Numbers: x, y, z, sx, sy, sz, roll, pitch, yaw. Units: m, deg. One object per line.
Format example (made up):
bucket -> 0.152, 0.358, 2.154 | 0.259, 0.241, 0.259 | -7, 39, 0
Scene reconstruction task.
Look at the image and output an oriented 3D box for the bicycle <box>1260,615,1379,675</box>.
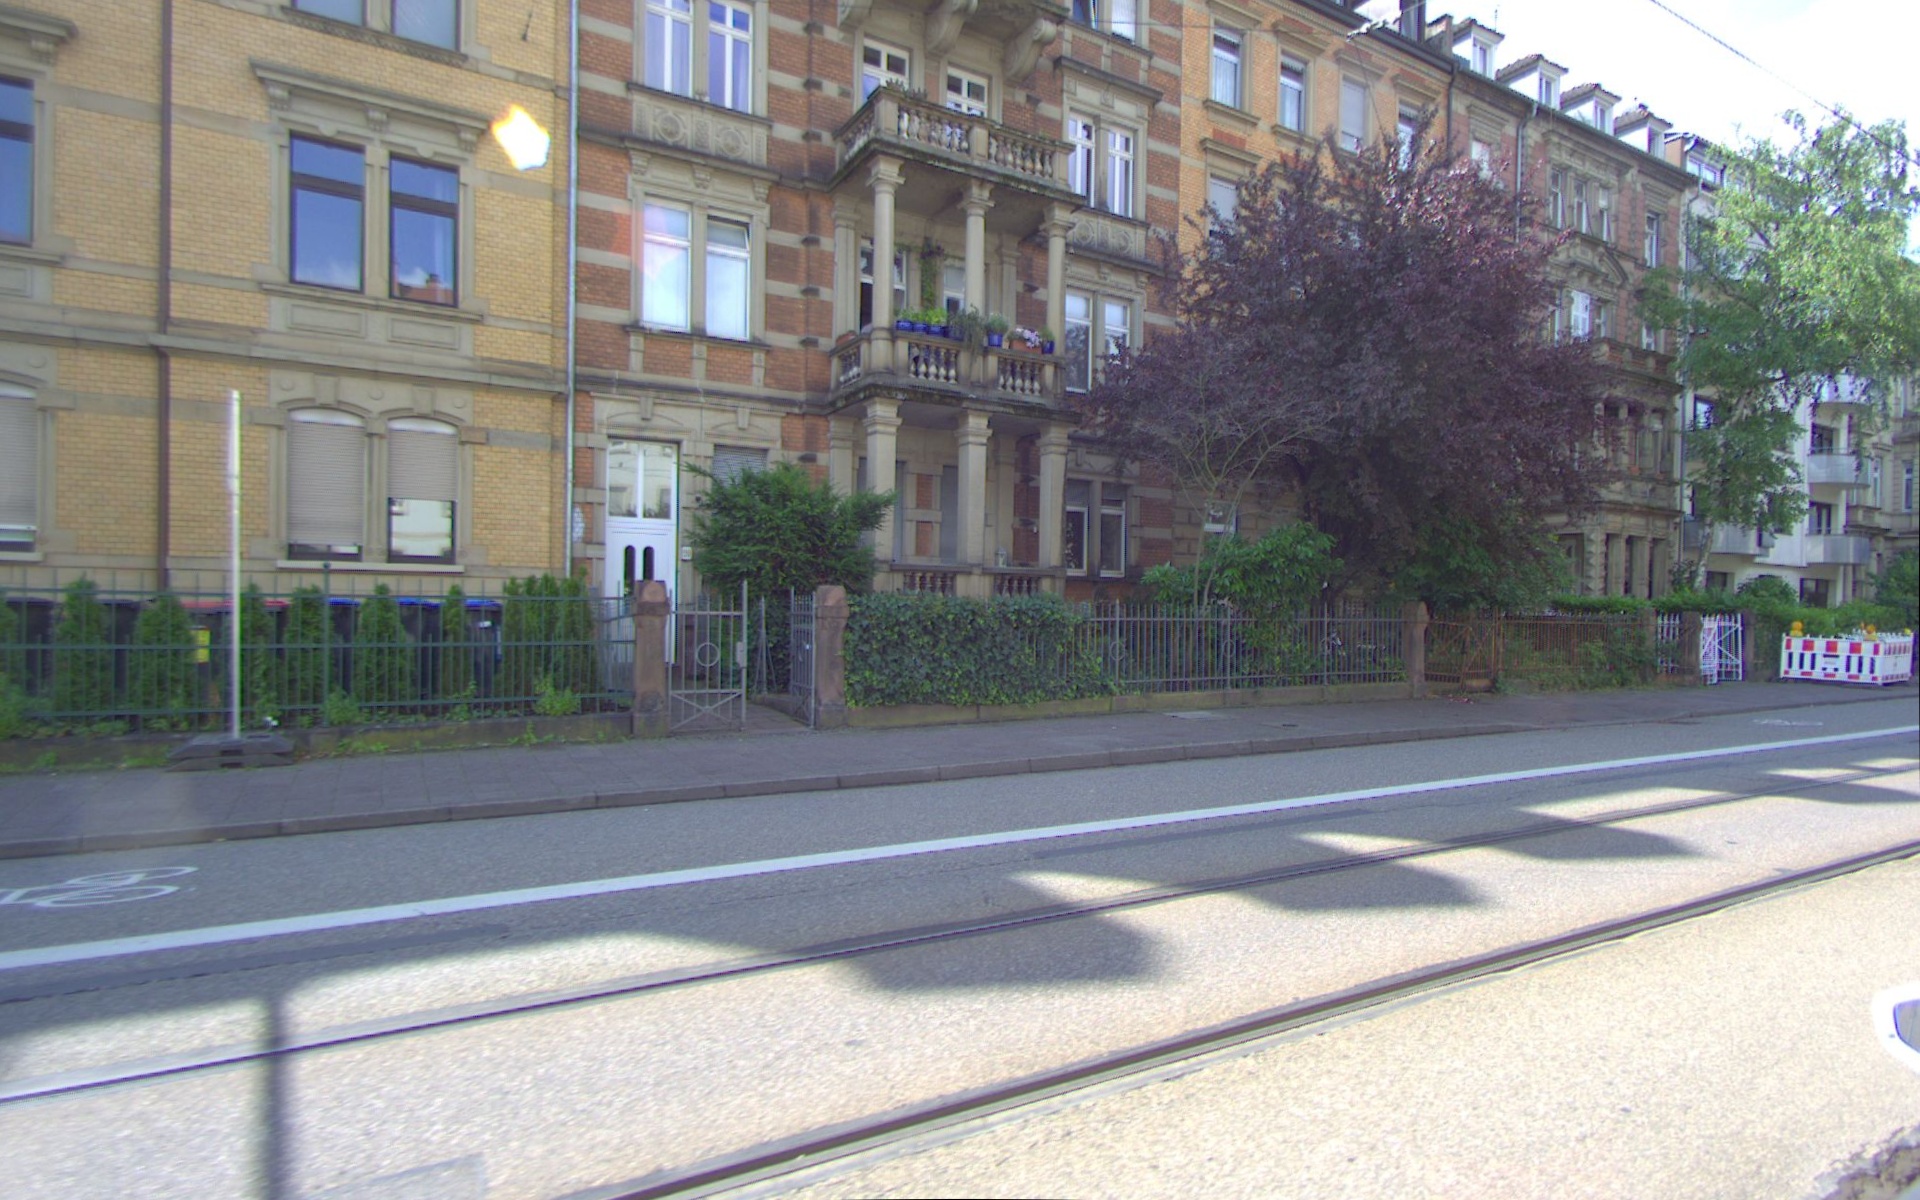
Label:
bicycle -> 6.797, 0.831, 19.113 | 0.463, 1.033, 2.185 | 1, 0, -40
